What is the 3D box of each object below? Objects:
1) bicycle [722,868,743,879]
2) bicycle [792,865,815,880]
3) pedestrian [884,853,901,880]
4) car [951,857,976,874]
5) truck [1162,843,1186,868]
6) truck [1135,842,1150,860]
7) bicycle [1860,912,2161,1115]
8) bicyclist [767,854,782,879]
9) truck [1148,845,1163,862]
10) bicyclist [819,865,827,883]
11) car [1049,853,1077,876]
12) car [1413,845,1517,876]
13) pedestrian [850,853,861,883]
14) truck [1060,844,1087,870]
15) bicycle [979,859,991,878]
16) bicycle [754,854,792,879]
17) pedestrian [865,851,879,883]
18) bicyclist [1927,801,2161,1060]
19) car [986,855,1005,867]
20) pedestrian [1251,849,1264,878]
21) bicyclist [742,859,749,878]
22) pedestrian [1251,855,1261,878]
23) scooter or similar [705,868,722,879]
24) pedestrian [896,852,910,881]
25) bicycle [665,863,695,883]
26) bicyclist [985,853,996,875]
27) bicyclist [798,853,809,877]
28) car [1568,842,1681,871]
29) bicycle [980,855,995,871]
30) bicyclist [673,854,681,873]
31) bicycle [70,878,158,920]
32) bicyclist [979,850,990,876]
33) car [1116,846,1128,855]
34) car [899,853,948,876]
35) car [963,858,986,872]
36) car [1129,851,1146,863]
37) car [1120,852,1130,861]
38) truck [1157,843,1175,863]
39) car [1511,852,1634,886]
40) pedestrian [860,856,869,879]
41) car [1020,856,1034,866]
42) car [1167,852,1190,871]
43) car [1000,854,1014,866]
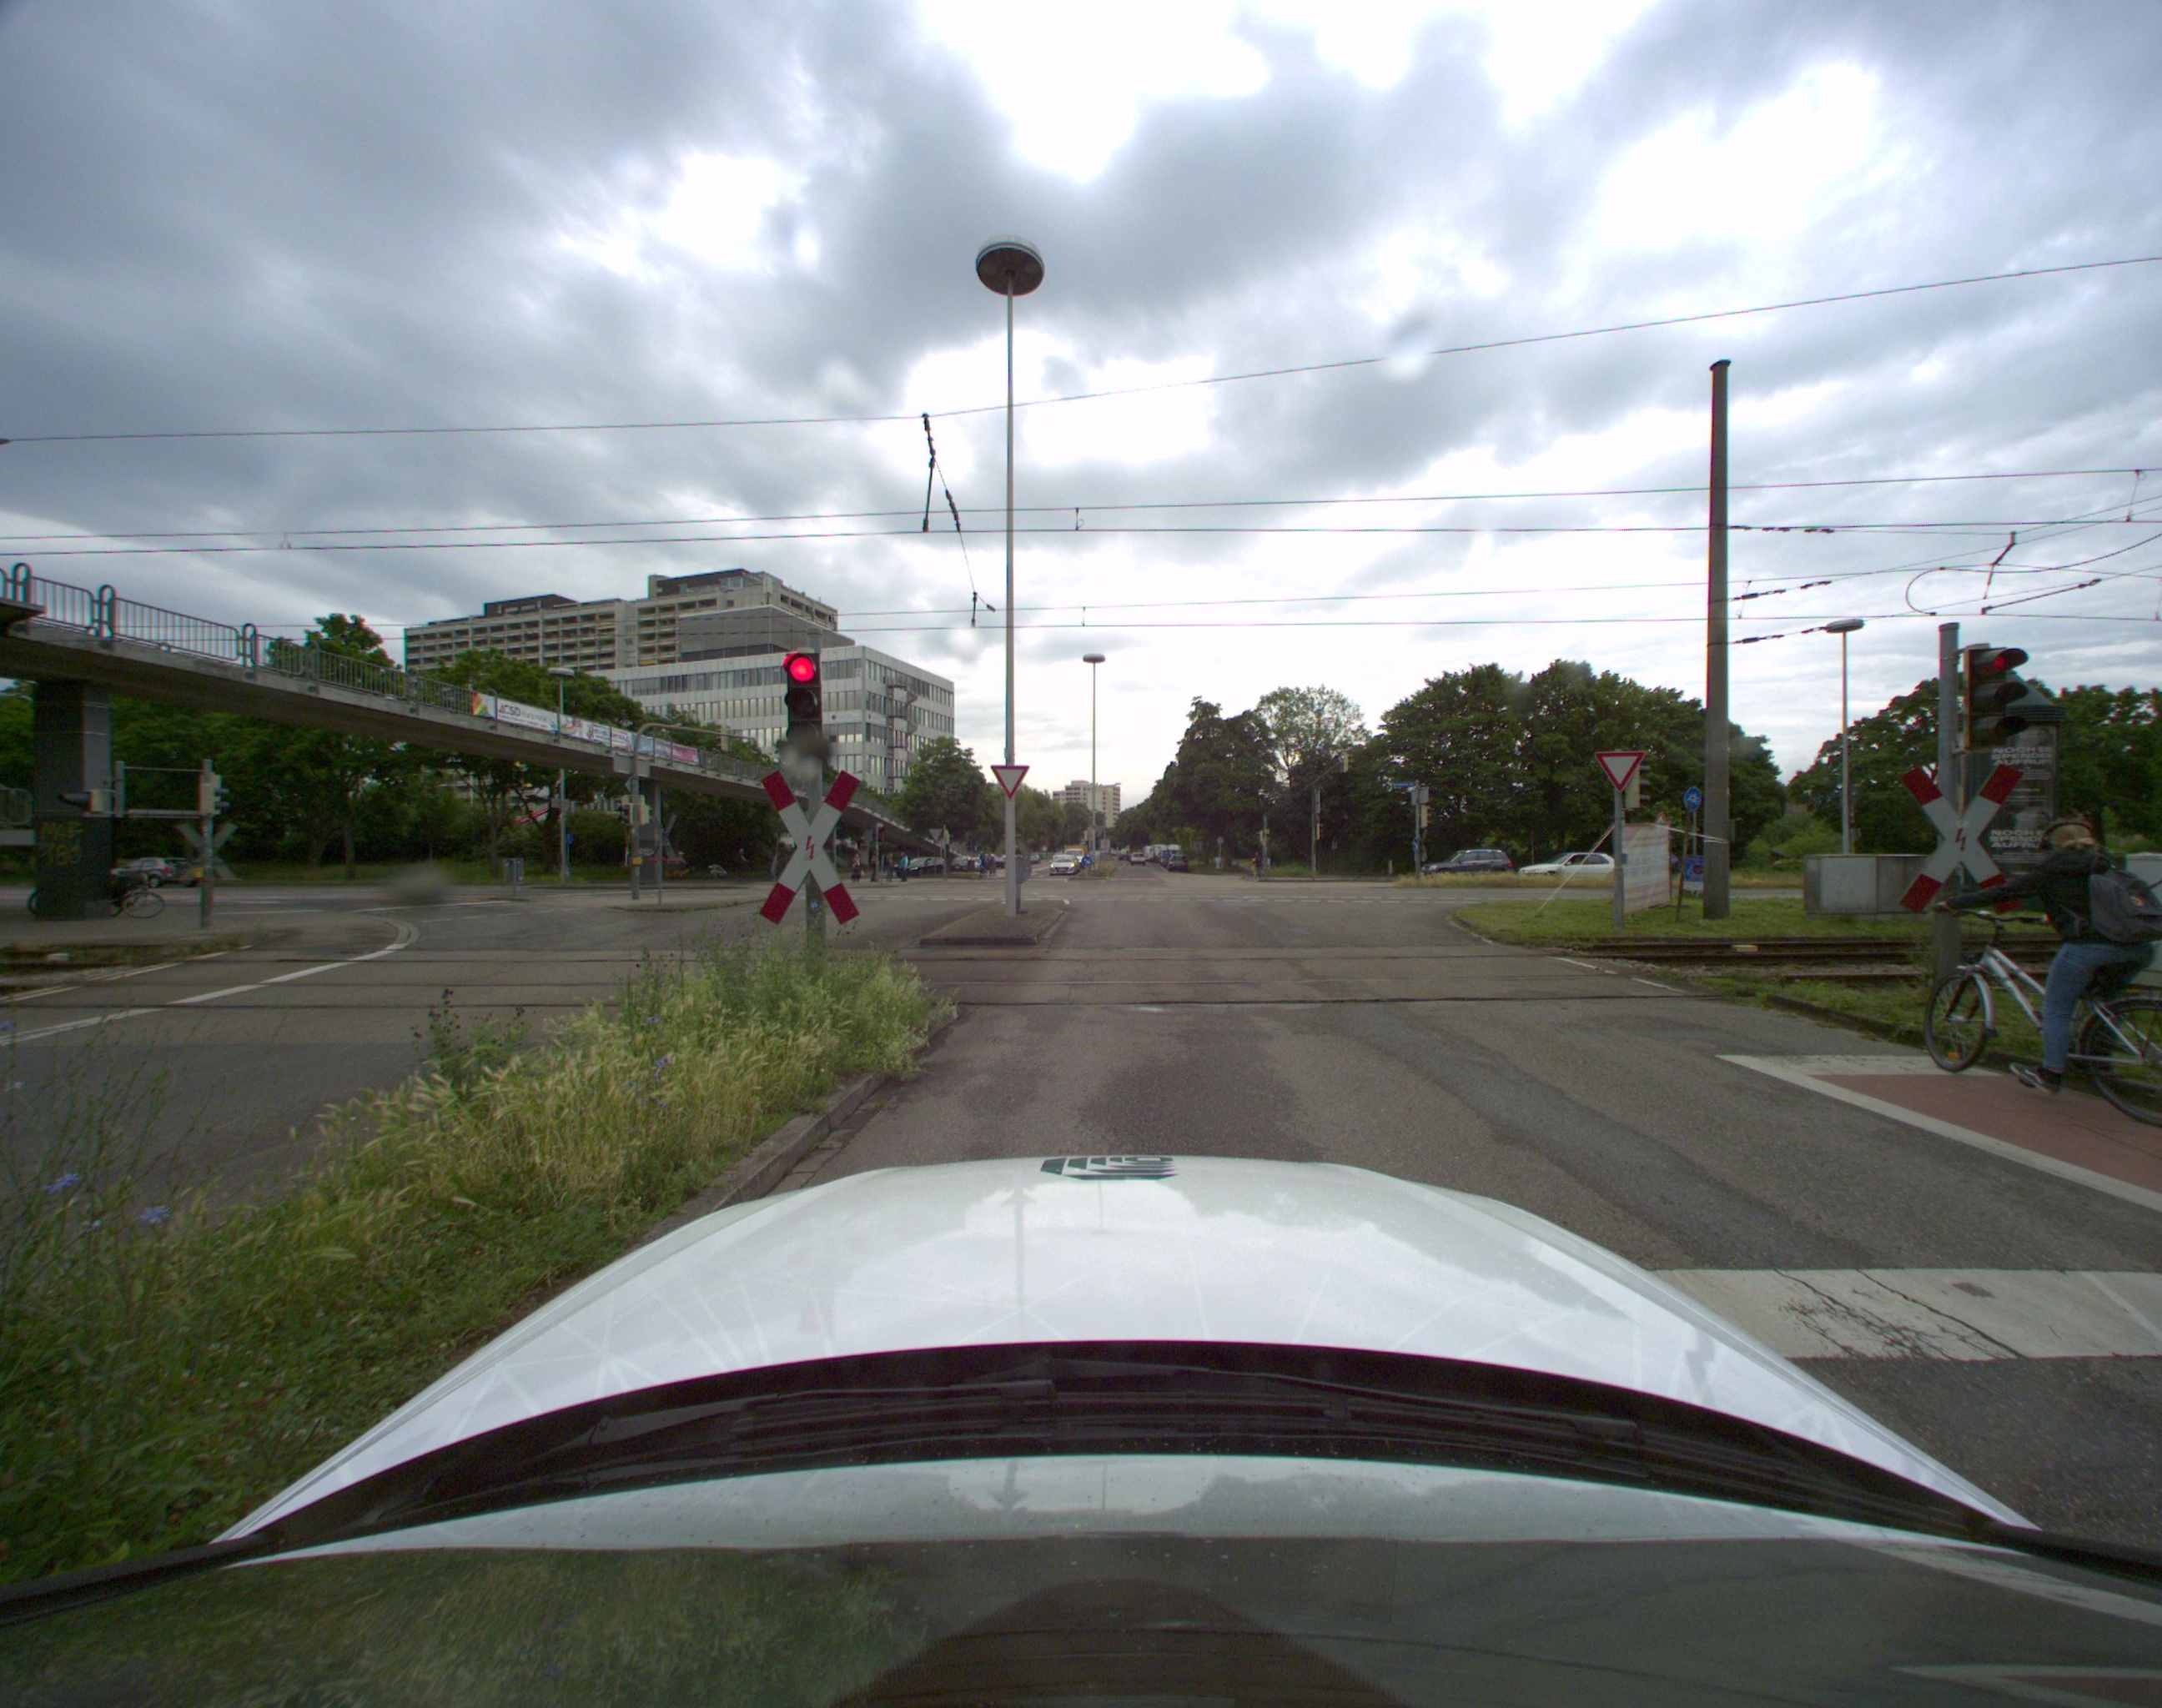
[{"bbox_3d":[-23.271,1.277,54.408,1.303,0.692,0.287,0,0,-34],"label":"bicycle"},{"bbox_3d":[-18.914,1.241,55.474,0.628,0.925,2.524,0,0,2],"label":"bicycle"},{"bbox_3d":[-10.720,0.716,46.276,0.917,1.511,0.402,0,0,-10],"label":"pedestrian"},{"bbox_3d":[-11.205,1.043,78.087,1.665,1.552,3.894,0,0,3],"label":"car"},{"bbox_3d":[10.277,0.207,90.666,2.166,2.656,6.249,-1,0,2],"label":"truck"},{"bbox_3d":[10.795,-0.447,142.911,1.988,3.009,5.768,0,-1,-1],"label":"truck"},{"bbox_3d":[6.072,0.927,5.159,0.381,0.980,2.030,0,-1,2],"label":"bicycle"},{"bbox_3d":[-20.341,0.822,54.081,0.744,1.625,0.528,0,0,2],"label":"bicyclist"},{"bbox_3d":[12.100,-0.067,132.075,1.987,2.573,5.377,0,-1,0],"label":"truck"},{"bbox_3d":[-17.413,1.365,54.894,0.403,1.181,0.378,0,1,4],"label":"bicyclist"},{"bbox_3d":[-1.234,0.713,58.022,1.782,1.519,4.327,0,0,2],"label":"car"},{"bbox_3d":[19.501,0.329,41.512,4.447,1.504,1.847,0,0,2],"label":"car"},{"bbox_3d":[-12.728,0.799,45.974,0.619,1.691,0.403,0,0,-12],"label":"pedestrian"},{"bbox_3d":[-0.604,0.248,72.298,2.147,2.199,5.842,0,0,2],"label":"truck"},{"bbox_3d":[-6.612,0.993,56.217,0.541,1.267,2.112,0,0,2],"label":"bicycle"},{"bbox_3d":[-20.423,0.822,54.064,2.349,1.625,0.528,0,0,2],"label":"bicycle"},{"bbox_3d":[-11.881,0.741,46.270,0.636,1.803,0.800,0,0,-7],"label":"pedestrian"},{"bbox_3d":[6.049,0.434,5.017,0.619,1.424,0.961,4,0,1],"label":"bicyclist"},{"bbox_3d":[-10.068,0.822,96.188,1.757,1.395,4.002,0,0,2],"label":"car"},{"bbox_3d":[10.648,0.570,49.163,0.654,1.750,0.459,0,0,1],"label":"pedestrian"},{"bbox_3d":[-22.577,0.971,54.782,0.385,1.303,0.275,0,0,-35],"label":"bicyclist"},{"bbox_3d":[10.704,0.764,49.729,0.525,1.342,0.525,0,0,1],"label":"pedestrian"},{"bbox_3d":[-24.233,1.277,53.736,1.001,0.715,0.402,0,0,-34],"label":"scooter or similar"},{"bbox_3d":[-10.095,0.697,46.195,0.685,1.605,0.487,0,0,-3],"label":"pedestrian"},{"bbox_3d":[-26.256,1.221,53.317,1.702,1.304,0.388,0,0,-7],"label":"bicycle"},{"bbox_3d":[-6.508,0.707,58.776,0.676,1.594,0.695,0,-1,1],"label":"bicyclist"},{"bbox_3d":[-18.902,0.735,55.440,0.563,1.644,0.532,0,-1,2],"label":"bicyclist"},{"bbox_3d":[27.338,0.123,41.073,4.447,1.440,1.847,0,0,2],"label":"car"},{"bbox_3d":[-6.639,0.603,57.922,0.724,1.101,2.265,0,0,2],"label":"bicycle"},{"bbox_3d":[-26.423,0.636,53.260,0.405,1.253,0.276,0,0,-7],"label":"bicyclist"},{"bbox_3d":[-21.764,1.000,18.329,2.017,0.921,0.375,0,0,13],"label":"bicycle"},{"bbox_3d":[-6.607,0.586,55.958,0.642,1.768,0.647,0,0,1],"label":"bicyclist"},{"bbox_3d":[7.012,-0.669,140.292,2.013,1.505,4.002,0,0,2],"label":"car"},{"bbox_3d":[-11.090,0.702,57.624,1.658,1.552,4.018,0,0,17],"label":"car"},{"bbox_3d":[-10.860,1.103,83.578,1.665,1.387,3.898,0,0,3],"label":"car"},{"bbox_3d":[7.108,0.390,102.294,2.013,1.505,4.002,0,0,2],"label":"car"},{"bbox_3d":[7.853,0.468,146.455,1.550,1.505,3.997,0,0,-2],"label":"car"},{"bbox_3d":[12.502,-0.175,119.985,1.988,2.838,5.727,0,0,-2],"label":"truck"},{"bbox_3d":[20.435,0.622,33.964,4.120,1.357,1.648,0,0,2],"label":"car"},{"bbox_3d":[-15.213,0.923,57.127,0.580,1.579,0.777,0,0,-16],"label":"pedestrian"},{"bbox_3d":[-8.313,1.071,126.166,1.665,1.552,4.003,0,0,3],"label":"car"},{"bbox_3d":[8.797,0.620,73.888,1.777,1.662,4.002,0,0,2],"label":"car"},{"bbox_3d":[-9.655,0.797,106.569,1.439,1.552,3.666,0,0,2],"label":"car"}]
